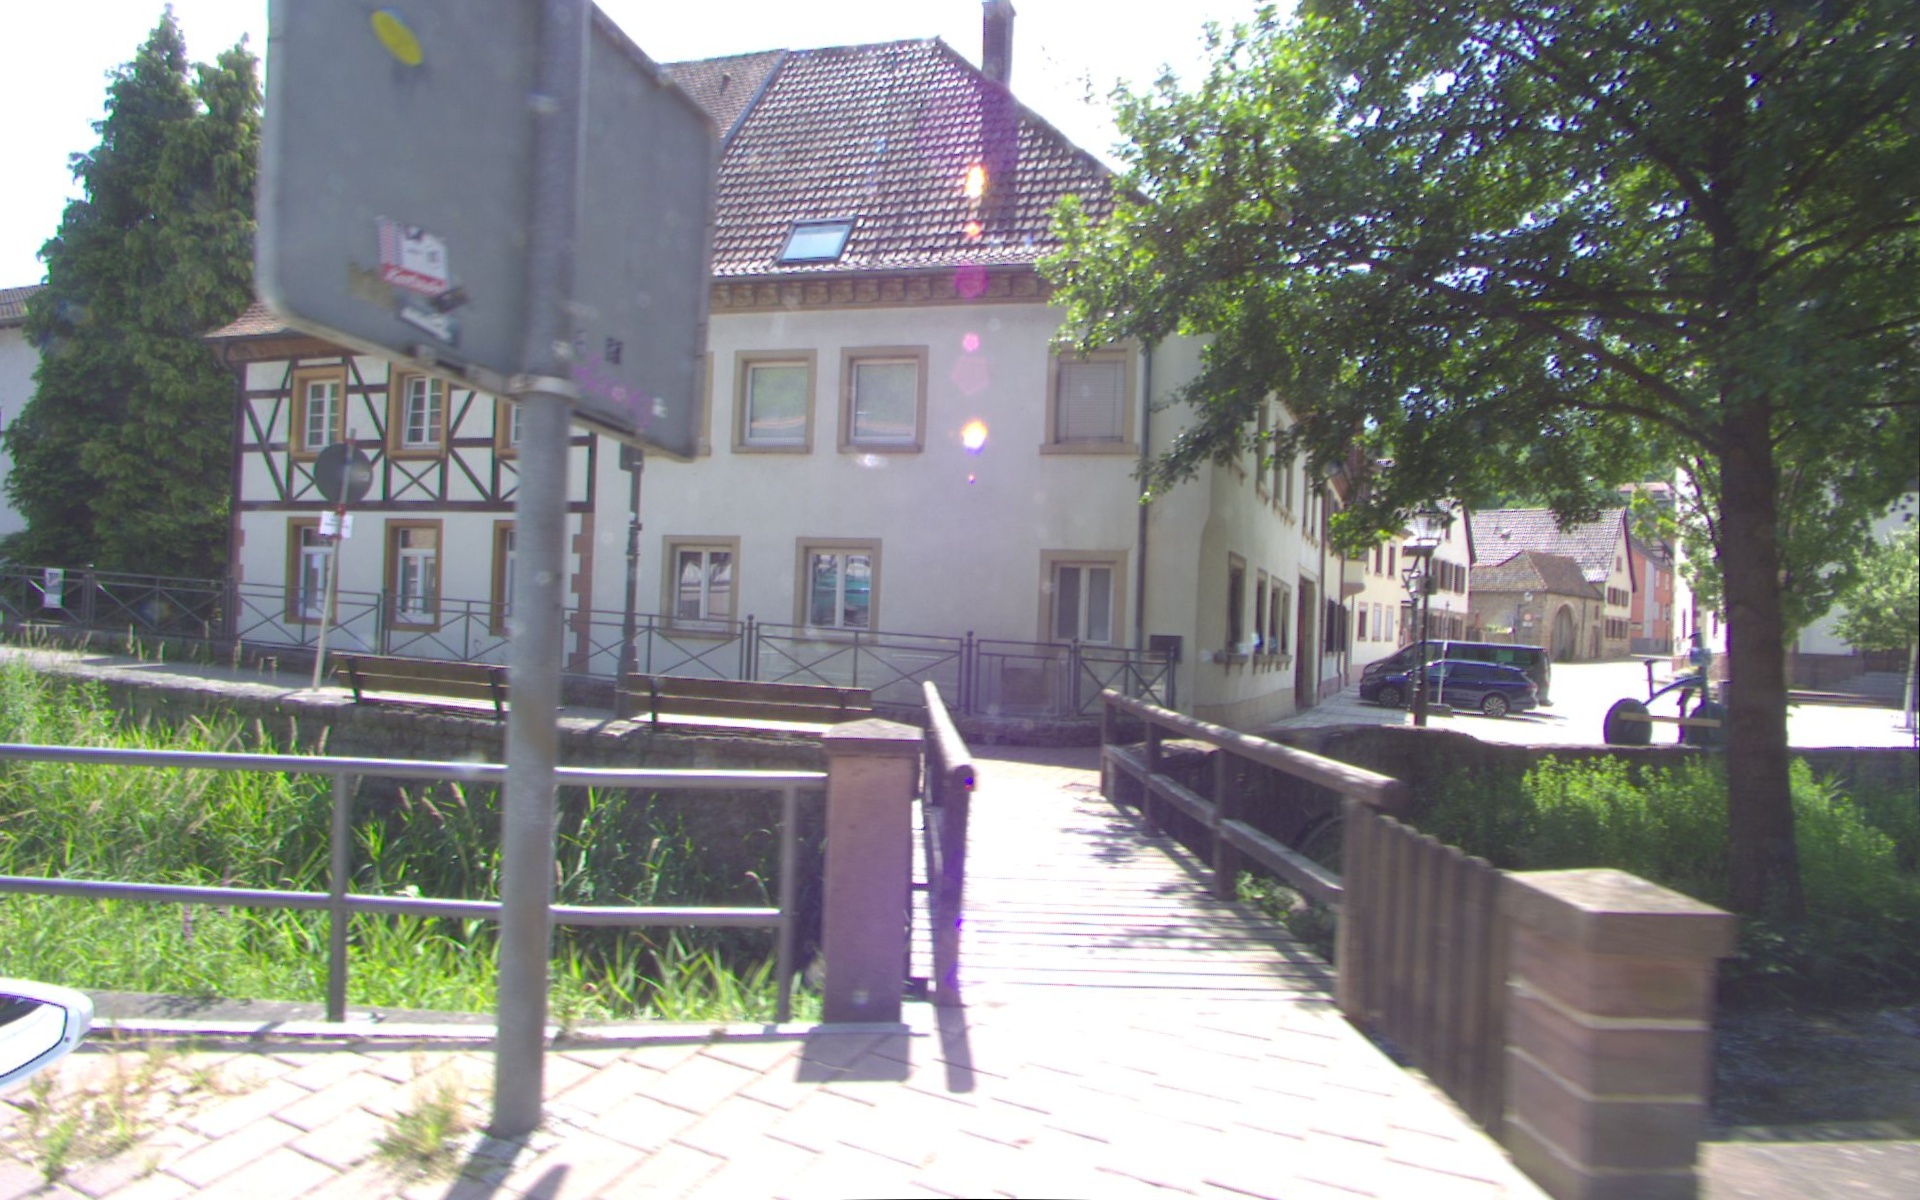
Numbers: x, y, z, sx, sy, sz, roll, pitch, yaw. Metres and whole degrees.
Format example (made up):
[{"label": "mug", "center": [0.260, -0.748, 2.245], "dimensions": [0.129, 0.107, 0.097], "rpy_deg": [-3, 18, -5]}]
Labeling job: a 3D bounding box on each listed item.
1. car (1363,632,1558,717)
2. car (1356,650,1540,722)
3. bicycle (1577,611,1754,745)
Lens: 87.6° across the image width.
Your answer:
[{"label": "car", "center": [15.117, 2.180, 30.499], "dimensions": [5.040, 2.054, 1.952], "rpy_deg": [4, 1, 27]}, {"label": "car", "center": [13.616, 2.360, 28.131], "dimensions": [4.467, 1.501, 1.584], "rpy_deg": [4, 1, 27]}, {"label": "bicycle", "center": [11.458, 1.286, 16.271], "dimensions": [2.618, 2.037, 0.783], "rpy_deg": [3, -4, -13]}]
